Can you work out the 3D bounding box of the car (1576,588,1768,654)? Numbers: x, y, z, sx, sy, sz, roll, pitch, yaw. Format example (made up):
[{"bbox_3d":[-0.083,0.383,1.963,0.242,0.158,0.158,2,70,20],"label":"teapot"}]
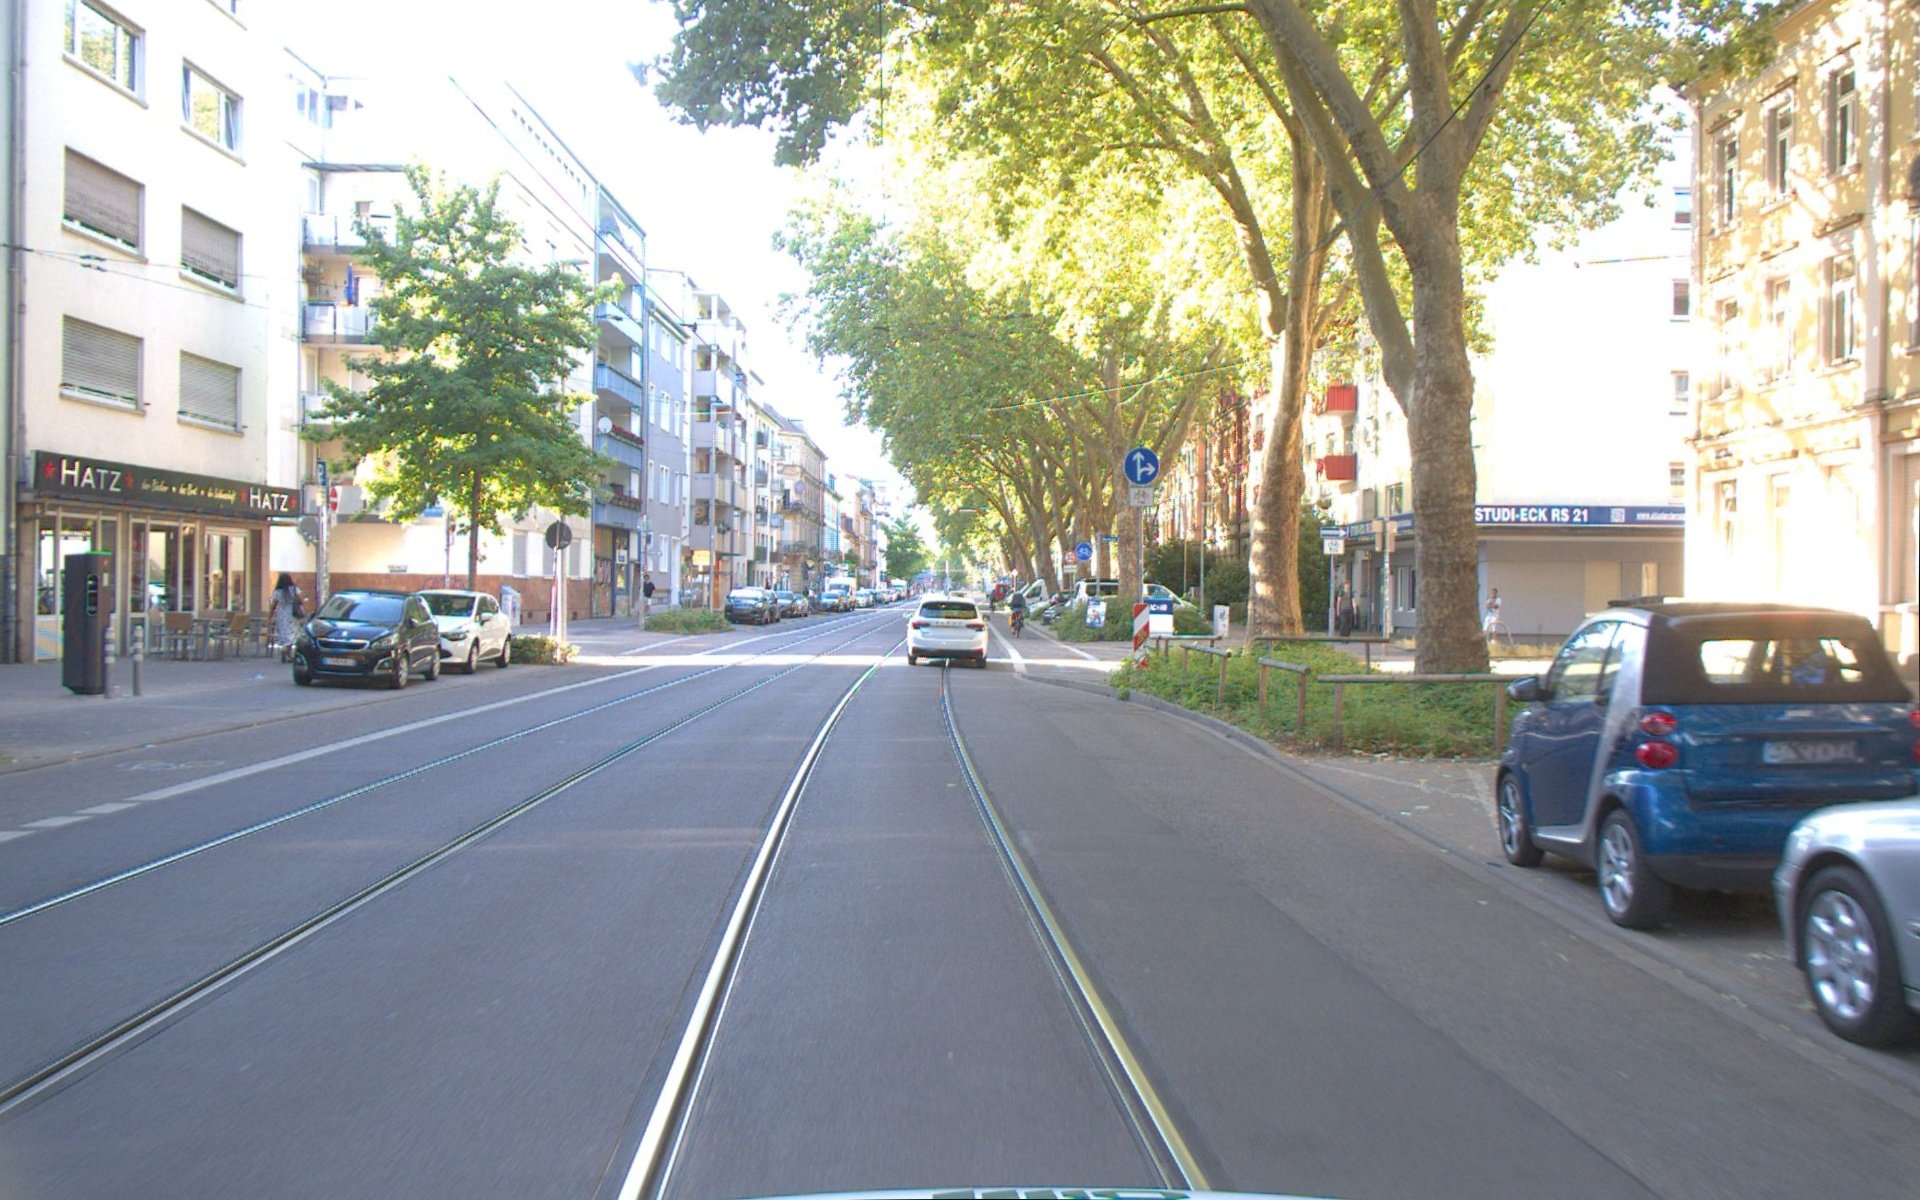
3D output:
[{"bbox_3d":[18.087,0.515,42.144,4.051,1.621,1.998,1,0,-5],"label":"car"}]

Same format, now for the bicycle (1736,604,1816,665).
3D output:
[{"bbox_3d":[15.944,0.658,32.361,0.570,1.123,1.922,-1,0,-1],"label":"bicycle"}]

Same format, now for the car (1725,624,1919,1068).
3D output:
[{"bbox_3d":[4.144,0.807,4.482,1.780,1.461,4.599,-1,0,-3],"label":"car"}]

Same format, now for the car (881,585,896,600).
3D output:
[{"bbox_3d":[-10.695,-1.122,247.872,1.953,2.049,4.000,1,0,0],"label":"car"}]

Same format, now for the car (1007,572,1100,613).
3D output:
[{"bbox_3d":[6.210,-0.514,110.606,6.007,2.681,2.528,0,0,-2],"label":"car"}]

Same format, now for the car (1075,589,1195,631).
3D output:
[{"bbox_3d":[6.433,0.354,61.037,4.210,1.505,1.830,0,0,-1],"label":"car"}]

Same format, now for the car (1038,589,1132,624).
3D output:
[{"bbox_3d":[5.632,0.278,74.824,4.058,1.540,1.931,0,0,-1],"label":"car"}]

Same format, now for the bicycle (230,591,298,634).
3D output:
[{"bbox_3d":[-20.244,0.359,48.128,1.712,1.177,0.585,-1,0,4],"label":"bicycle"}]

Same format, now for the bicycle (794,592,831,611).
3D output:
[{"bbox_3d":[-10.089,0.084,113.043,2.476,1.193,0.718,2,-1,-6],"label":"bicycle"}]

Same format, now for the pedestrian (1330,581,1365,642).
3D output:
[{"bbox_3d":[12.216,0.341,52.179,0.751,1.899,1.188,0,0,-4],"label":"pedestrian"}]

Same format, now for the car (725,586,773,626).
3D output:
[{"bbox_3d":[-9.607,0.265,75.432,1.668,1.679,4.240,3,0,-2],"label":"car"}]

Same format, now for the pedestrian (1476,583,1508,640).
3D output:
[{"bbox_3d":[15.759,0.337,49.014,0.731,1.673,0.666,0,0,1],"label":"pedestrian"}]

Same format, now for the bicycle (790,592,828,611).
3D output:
[{"bbox_3d":[-10.065,0.098,110.151,2.475,1.193,0.718,2,-1,-5],"label":"bicycle"}]

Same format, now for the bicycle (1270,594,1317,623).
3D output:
[{"bbox_3d":[14.336,0.363,71.114,1.908,1.177,0.571,-1,0,-8],"label":"bicycle"}]

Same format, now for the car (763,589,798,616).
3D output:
[{"bbox_3d":[-9.848,0.115,91.025,1.620,1.462,3.835,1,0,-2],"label":"car"}]

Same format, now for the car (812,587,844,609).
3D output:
[{"bbox_3d":[-9.602,-0.139,120.416,1.953,1.557,4.000,0,0,0],"label":"car"}]

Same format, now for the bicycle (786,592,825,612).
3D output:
[{"bbox_3d":[-10.110,0.103,108.382,2.509,1.193,0.870,3,-2,-40],"label":"bicycle"}]

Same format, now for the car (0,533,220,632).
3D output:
[{"bbox_3d":[-24.834,-0.500,48.041,5.690,2.771,2.170,0,0,-2],"label":"car"}]

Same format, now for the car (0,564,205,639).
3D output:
[{"bbox_3d":[-22.210,0.041,42.345,4.778,1.854,2.037,0,0,-5],"label":"car"}]

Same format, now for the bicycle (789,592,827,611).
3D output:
[{"bbox_3d":[-10.050,0.103,109.265,2.476,1.193,0.718,2,-1,-7],"label":"bicycle"}]

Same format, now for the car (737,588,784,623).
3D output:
[{"bbox_3d":[-9.689,0.226,80.592,1.667,1.571,4.241,3,0,0],"label":"car"}]

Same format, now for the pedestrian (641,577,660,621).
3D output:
[{"bbox_3d":[-13.270,-0.045,70.856,0.650,1.858,0.965,0,0,-2],"label":"pedestrian"}]

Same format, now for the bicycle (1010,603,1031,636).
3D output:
[{"bbox_3d":[2.087,0.668,57.349,0.667,1.089,1.781,0,0,0],"label":"bicycle"}]

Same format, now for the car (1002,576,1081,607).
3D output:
[{"bbox_3d":[6.323,-0.678,129.226,6.007,2.322,2.528,0,0,-2],"label":"car"}]

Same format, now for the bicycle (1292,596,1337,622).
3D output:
[{"bbox_3d":[15.232,0.398,71.051,1.756,1.060,0.617,-2,0,-4],"label":"bicycle"}]

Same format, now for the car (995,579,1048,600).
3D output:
[{"bbox_3d":[7.024,-1.198,189.468,6.007,2.322,2.528,0,0,-2],"label":"car"}]

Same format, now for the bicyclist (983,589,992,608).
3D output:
[{"bbox_3d":[2.027,-0.114,121.708,0.636,1.367,0.934,0,0,-2],"label":"bicyclist"}]

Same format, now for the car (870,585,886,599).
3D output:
[{"bbox_3d":[-11.565,-1.123,233.570,1.953,2.049,4.000,0,0,0],"label":"car"}]

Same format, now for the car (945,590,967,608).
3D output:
[{"bbox_3d":[-0.302,-0.088,136.348,1.725,1.501,4.000,0,0,0],"label":"car"}]

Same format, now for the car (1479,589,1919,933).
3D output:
[{"bbox_3d":[4.005,0.740,8.977,1.531,1.545,2.911,-1,-1,2],"label":"car"}]

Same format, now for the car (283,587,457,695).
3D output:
[{"bbox_3d":[-9.302,0.599,26.398,1.681,1.489,3.994,4,0,-7],"label":"car"}]

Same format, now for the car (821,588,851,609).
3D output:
[{"bbox_3d":[-9.450,-0.130,126.197,1.953,1.557,4.000,0,0,0],"label":"car"}]

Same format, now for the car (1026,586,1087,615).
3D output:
[{"bbox_3d":[5.714,0.017,98.351,3.558,1.695,1.823,0,0,2],"label":"car"}]

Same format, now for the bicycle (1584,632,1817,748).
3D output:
[{"bbox_3d":[6.911,0.852,15.491,1.924,1.023,0.511,-3,-1,26],"label":"bicycle"}]

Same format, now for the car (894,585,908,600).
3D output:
[{"bbox_3d":[-8.425,-1.101,236.056,1.953,2.049,4.000,0,0,0],"label":"car"}]

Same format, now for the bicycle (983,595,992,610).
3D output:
[{"bbox_3d":[2.033,0.211,121.696,0.636,1.089,1.582,0,0,-2],"label":"bicycle"}]

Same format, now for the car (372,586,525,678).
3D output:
[{"bbox_3d":[-9.499,0.554,31.055,1.679,1.489,4.373,4,0,-4],"label":"car"}]

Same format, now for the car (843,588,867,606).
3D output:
[{"bbox_3d":[-9.631,-0.283,152.469,1.953,1.557,4.000,0,0,0],"label":"car"}]

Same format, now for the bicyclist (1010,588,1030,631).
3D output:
[{"bbox_3d":[2.091,0.313,57.342,0.664,1.468,1.047,0,0,1],"label":"bicyclist"}]

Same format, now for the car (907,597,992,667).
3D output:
[{"bbox_3d":[-0.256,0.640,35.654,1.726,1.408,3.999,0,0,-1],"label":"car"}]

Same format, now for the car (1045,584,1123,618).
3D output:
[{"bbox_3d":[6.399,0.060,85.741,3.906,1.709,1.723,0,0,-1],"label":"car"}]

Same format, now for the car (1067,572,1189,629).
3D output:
[{"bbox_3d":[6.420,0.010,63.614,4.452,2.113,2.000,0,0,-3],"label":"car"}]

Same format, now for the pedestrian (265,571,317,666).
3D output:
[{"bbox_3d":[-12.337,0.335,30.507,0.650,1.720,0.748,0,0,-2],"label":"pedestrian"}]

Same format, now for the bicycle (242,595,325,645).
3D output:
[{"bbox_3d":[-16.572,0.481,40.514,1.903,1.177,0.572,-1,0,14],"label":"bicycle"}]

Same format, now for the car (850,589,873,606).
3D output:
[{"bbox_3d":[-9.611,-0.263,161.622,1.953,1.557,4.000,0,0,0],"label":"car"}]

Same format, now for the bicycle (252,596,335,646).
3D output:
[{"bbox_3d":[-16.479,0.516,40.919,1.903,1.177,0.572,-1,0,14],"label":"bicycle"}]

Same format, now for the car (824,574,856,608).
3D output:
[{"bbox_3d":[-9.547,-0.708,132.140,2.134,2.642,4.949,0,0,0],"label":"car"}]
